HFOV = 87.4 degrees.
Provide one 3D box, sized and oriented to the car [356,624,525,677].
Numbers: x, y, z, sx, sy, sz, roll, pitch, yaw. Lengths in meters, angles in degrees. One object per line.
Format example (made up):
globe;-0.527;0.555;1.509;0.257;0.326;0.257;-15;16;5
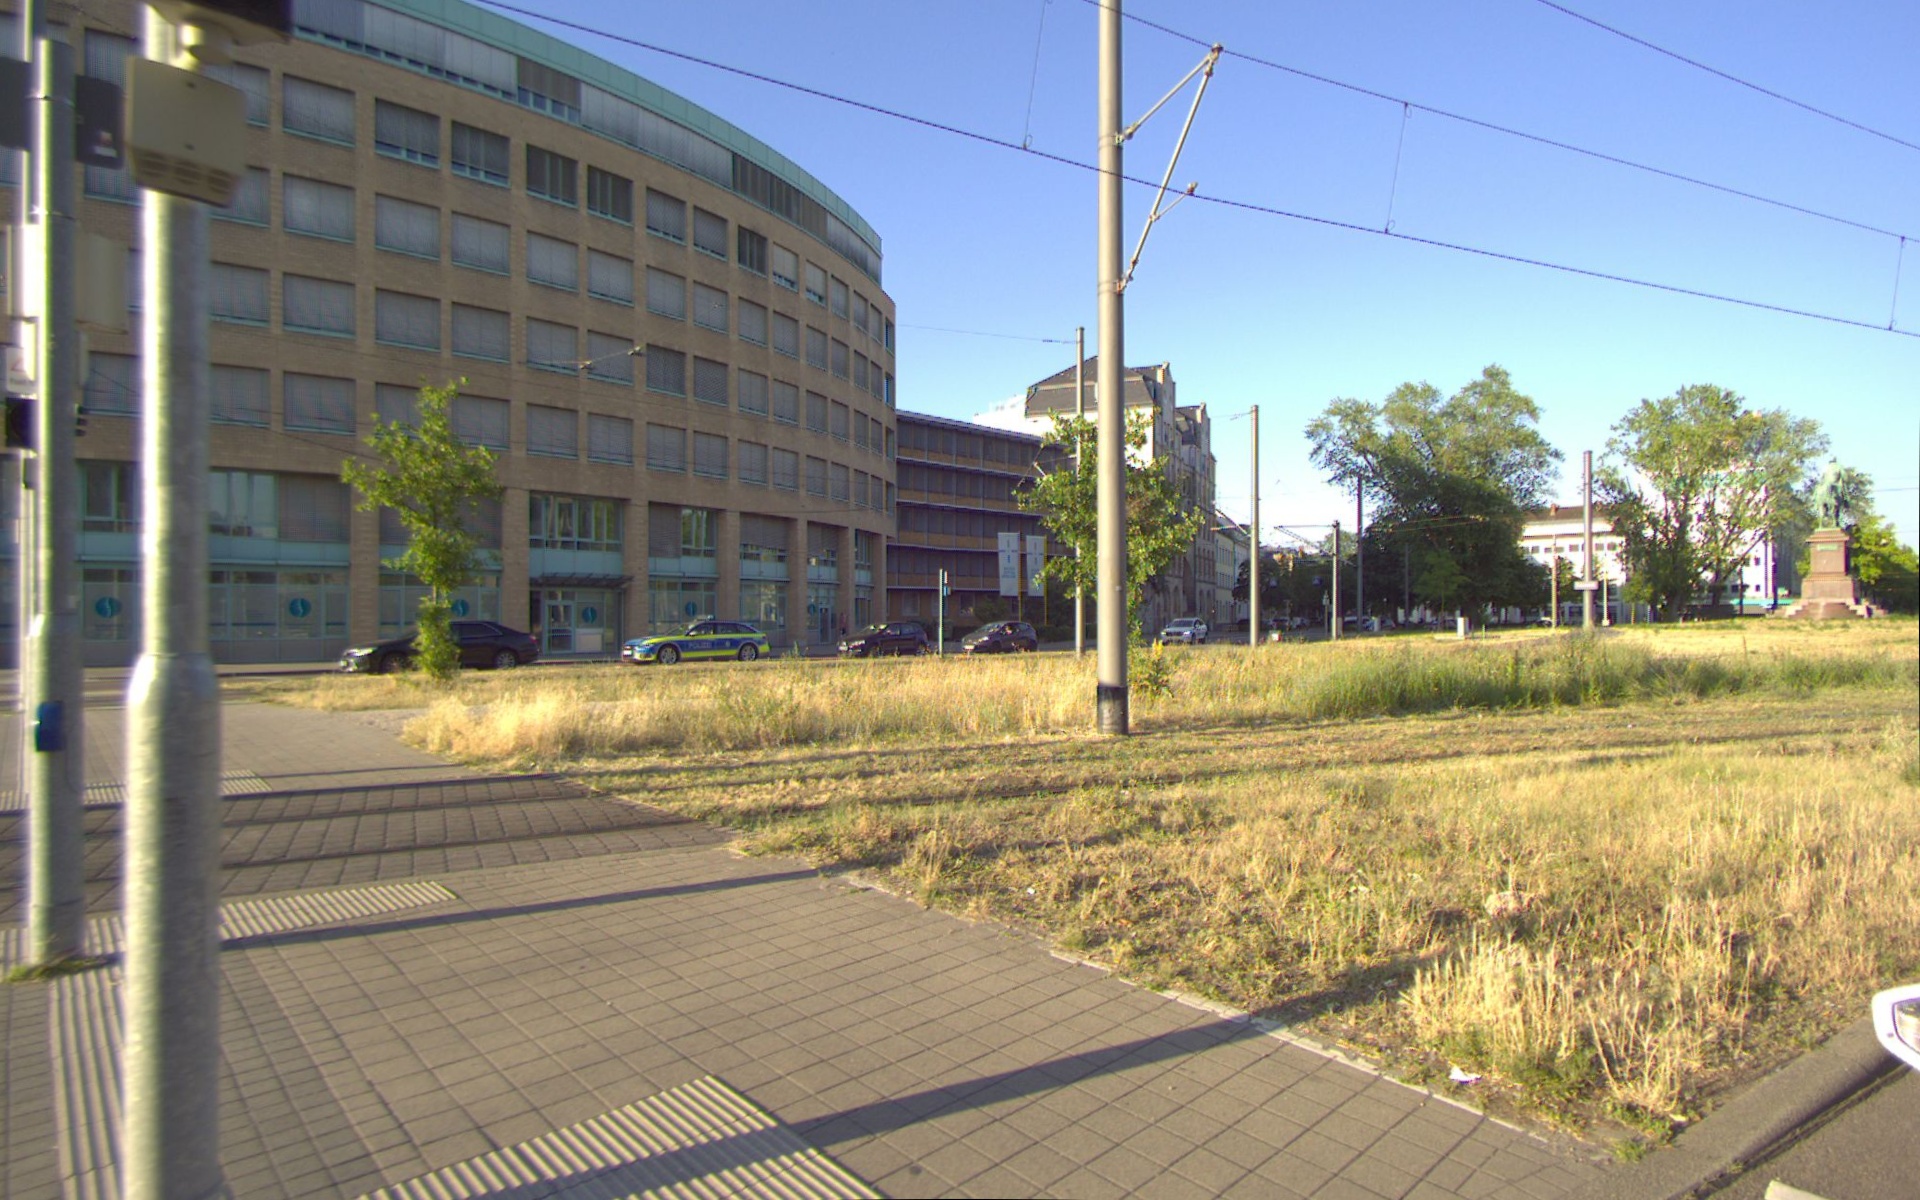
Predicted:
car;-14.019;1.313;27.214;3.764;1.299;1.708;1;-1;-44

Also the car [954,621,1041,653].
car;1.640;1.552;42.842;3.714;1.298;1.630;1;-1;-44

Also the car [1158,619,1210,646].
car;13.134;1.865;58.770;1.745;1.502;4.300;0;-1;31

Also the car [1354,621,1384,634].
car;40.396;2.692;99.123;1.549;1.275;3.707;-2;-2;43

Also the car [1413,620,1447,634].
car;48.697;2.812;104.073;3.480;1.372;1.542;0;0;-31

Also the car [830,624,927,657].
car;-3.047;1.498;38.122;1.504;1.169;3.576;0;-1;44

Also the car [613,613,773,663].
car;-8.554;1.188;32.481;1.870;1.500;4.751;-1;-1;45
